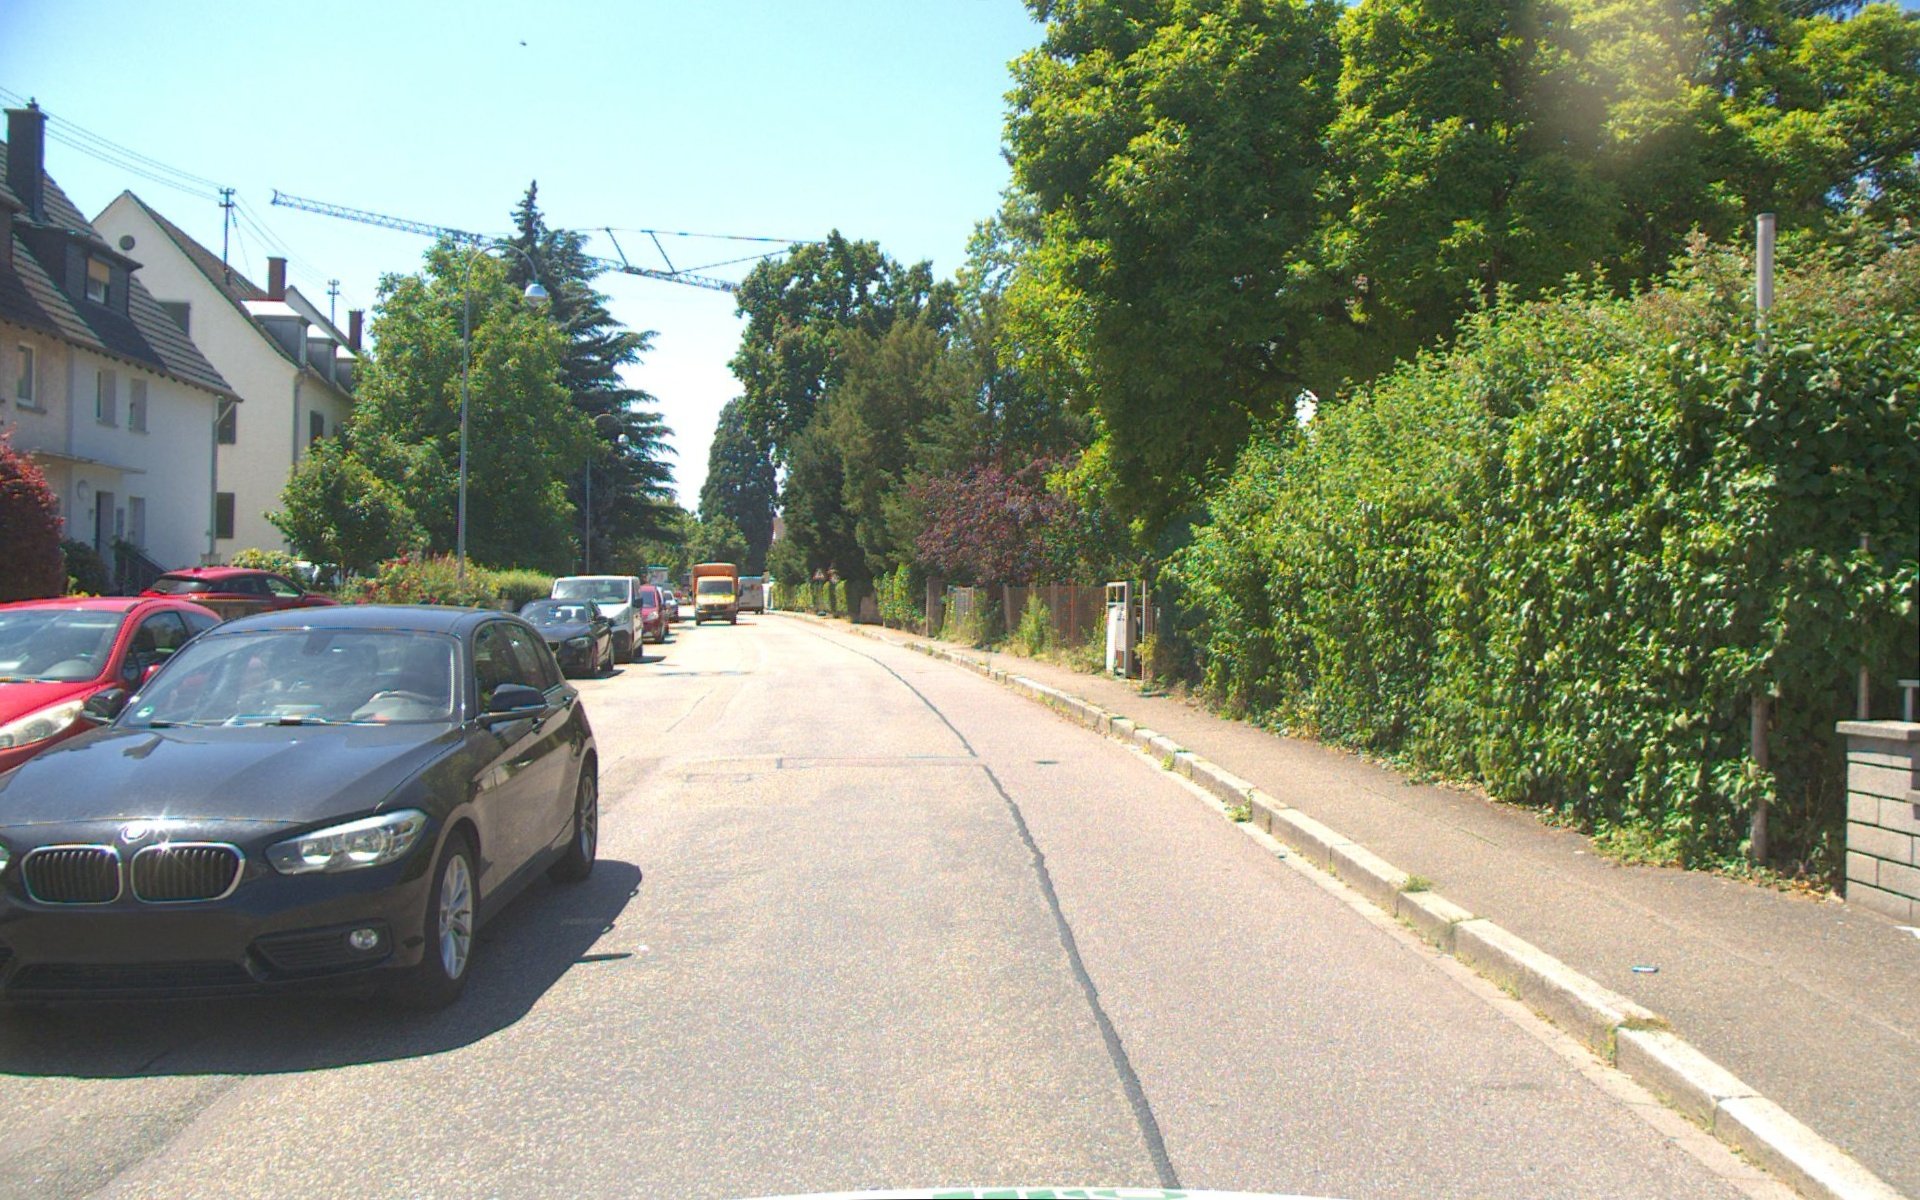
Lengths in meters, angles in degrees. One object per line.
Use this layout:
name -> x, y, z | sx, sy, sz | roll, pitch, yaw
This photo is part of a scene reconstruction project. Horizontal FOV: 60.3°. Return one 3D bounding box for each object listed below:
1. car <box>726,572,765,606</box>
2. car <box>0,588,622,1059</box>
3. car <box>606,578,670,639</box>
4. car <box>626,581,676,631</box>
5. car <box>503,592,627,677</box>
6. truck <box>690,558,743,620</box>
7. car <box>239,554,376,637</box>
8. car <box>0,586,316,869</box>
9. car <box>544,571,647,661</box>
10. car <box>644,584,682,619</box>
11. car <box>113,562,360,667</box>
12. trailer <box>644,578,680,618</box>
car -> -15.246, -0.782, 117.405 | 2.108, 2.356, 4.834 | -1, 1, -15
car -> -2.654, 0.699, 7.171 | 1.697, 1.442, 3.998 | -1, 0, -3
car -> -10.028, 0.231, 51.780 | 1.725, 1.757, 4.449 | -1, 1, -9
car -> -11.728, 0.199, 63.043 | 1.617, 1.782, 4.347 | -1, 1, -8
car -> -7.350, 0.584, 31.094 | 1.666, 1.408, 4.230 | -2, 1, -6
truck -> -11.905, -0.547, 80.596 | 2.330, 2.879, 5.645 | -1, 0, -10
car -> -16.108, -0.096, 41.019 | 1.679, 1.903, 4.000 | 2, 0, 1
car -> -5.864, 0.692, 10.863 | 1.725, 1.503, 4.057 | -2, 1, -1
car -> -8.369, 0.348, 38.317 | 1.850, 1.914, 4.972 | -1, 0, -7
car -> -15.419, 0.080, 85.739 | 1.818, 1.700, 4.700 | -2, 1, -11
car -> -12.715, 0.189, 29.340 | 1.609, 1.537, 4.114 | 4, 4, 20
trailer -> -16.266, -0.137, 90.082 | 1.815, 2.075, 4.152 | -2, 1, -11
